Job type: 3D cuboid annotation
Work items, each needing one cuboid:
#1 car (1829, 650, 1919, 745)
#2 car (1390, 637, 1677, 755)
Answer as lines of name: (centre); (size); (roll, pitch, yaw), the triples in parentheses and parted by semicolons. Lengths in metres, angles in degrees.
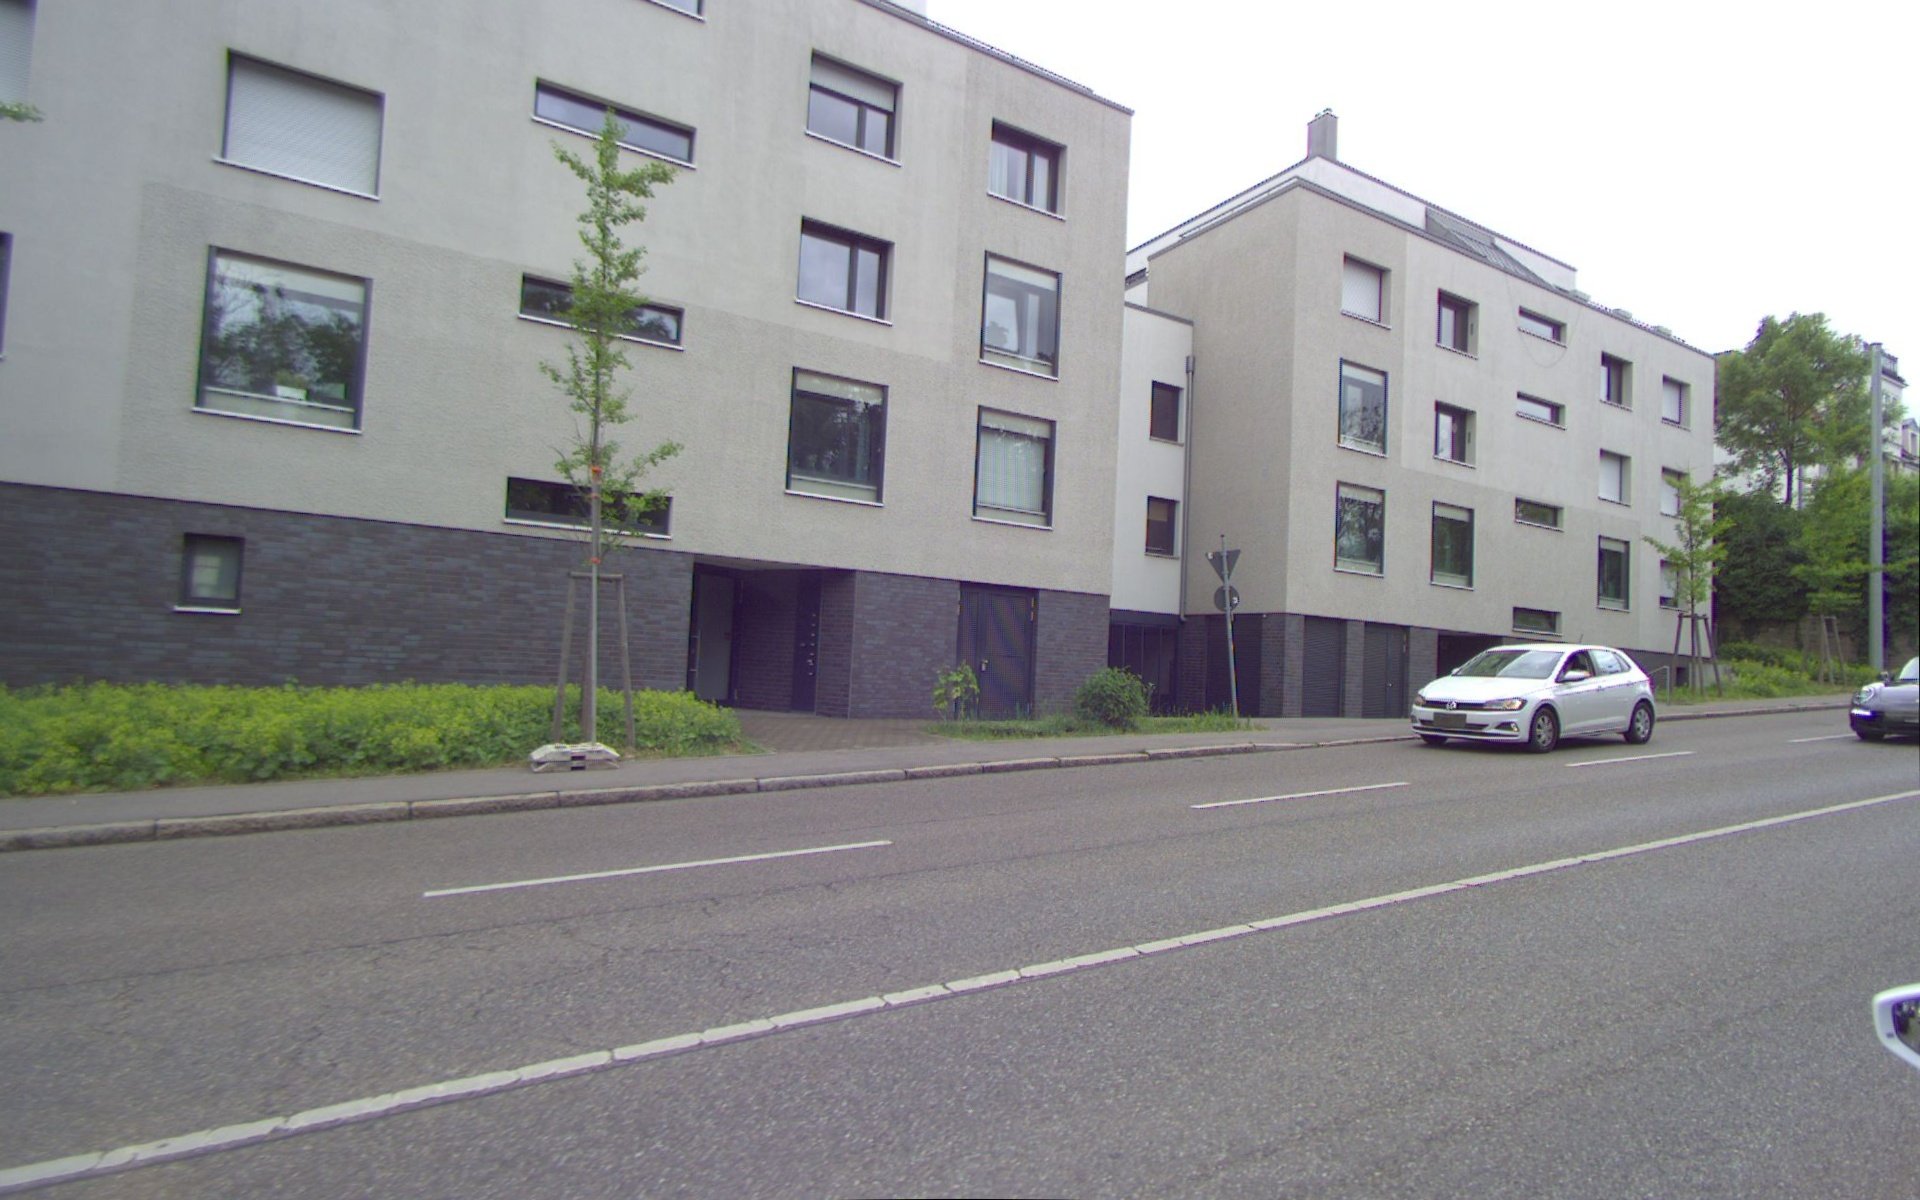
car: (14.976, 1.402, 15.032); (4.142, 1.285, 1.745); (1, -3, -31)
car: (8.309, 1.290, 14.482); (4.142, 1.483, 1.765); (1, -3, -31)
